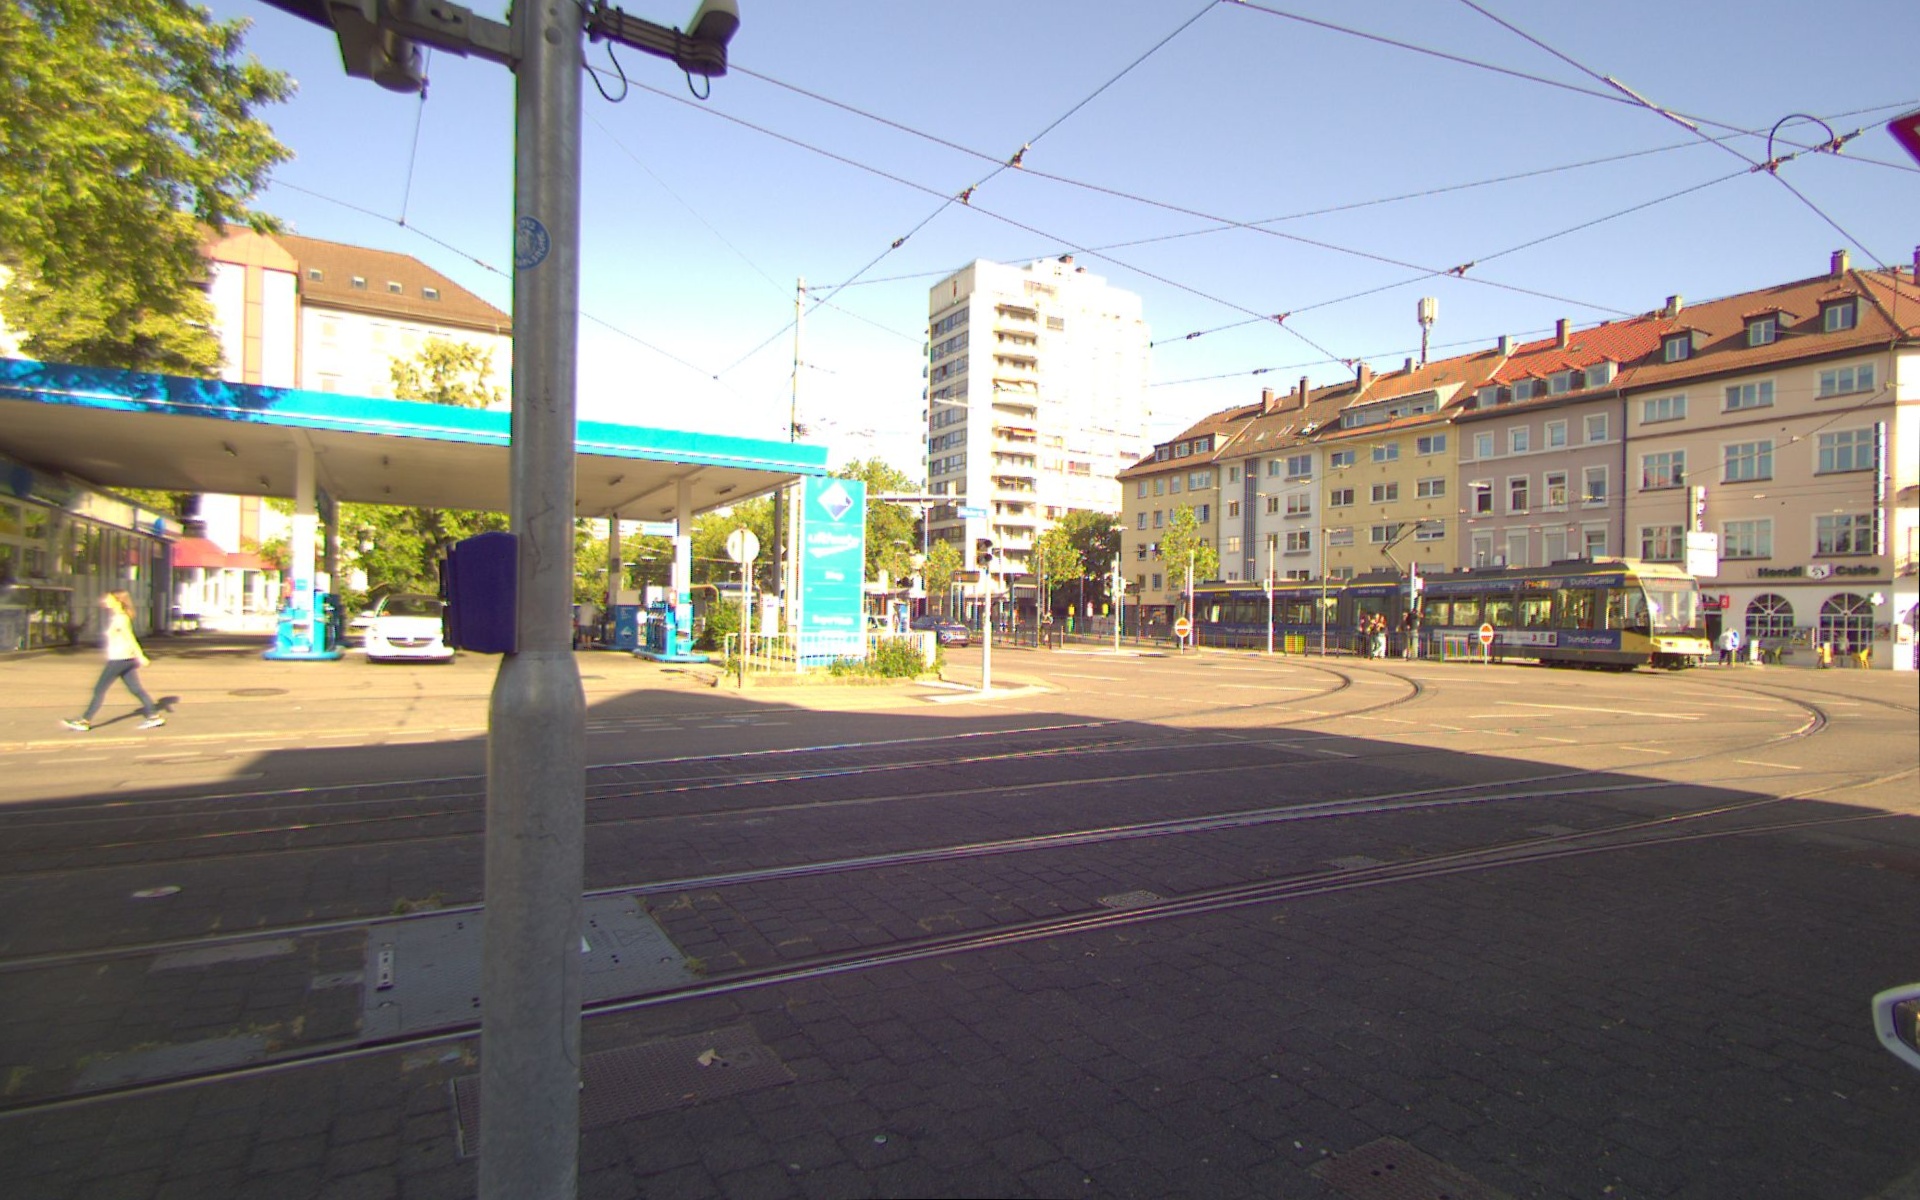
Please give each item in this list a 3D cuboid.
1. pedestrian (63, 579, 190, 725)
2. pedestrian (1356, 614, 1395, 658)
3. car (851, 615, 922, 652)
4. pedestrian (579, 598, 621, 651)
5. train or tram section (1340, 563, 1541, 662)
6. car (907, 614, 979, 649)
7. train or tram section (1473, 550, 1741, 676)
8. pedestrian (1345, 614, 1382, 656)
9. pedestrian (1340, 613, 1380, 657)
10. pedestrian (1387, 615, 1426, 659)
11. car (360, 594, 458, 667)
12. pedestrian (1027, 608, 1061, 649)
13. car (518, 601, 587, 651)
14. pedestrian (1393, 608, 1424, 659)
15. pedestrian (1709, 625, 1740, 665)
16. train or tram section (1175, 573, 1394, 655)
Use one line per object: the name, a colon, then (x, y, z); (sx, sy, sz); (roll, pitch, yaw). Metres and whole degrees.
pedestrian: (-9.899, 0.593, 11.943); (1.099, 1.641, 0.706); (1, -1, -43)
pedestrian: (15.659, 1.343, 37.823); (0.996, 1.619, 0.935); (1, -1, -27)
car: (-3.468, 1.532, 46.741); (1.863, 1.601, 3.971); (1, -1, -28)
pedestrian: (-11.566, 0.785, 32.311); (1.143, 1.647, 0.810); (1, -1, -12)
train or tram section: (19.006, 0.525, 40.541); (2.774, 3.546, 8.443); (1, -1, -12)
car: (-0.844, 1.497, 48.322); (1.863, 1.601, 3.971); (1, -1, -28)
train or tram section: (20.498, 0.432, 32.588); (2.772, 3.546, 7.951); (1, -1, -9)
pedestrian: (15.755, 1.356, 39.257); (0.925, 1.619, 1.007); (1, -1, -13)
pedestrian: (14.835, 1.282, 37.274); (0.994, 1.619, 0.937); (1, -1, -21)
pedestrian: (16.617, 1.372, 37.364); (0.924, 1.619, 1.008); (1, -1, -8)
car: (-12.361, 0.656, 22.523); (1.760, 1.483, 3.968); (1, -1, -30)
pedestrian: (3.905, 1.336, 46.796); (1.156, 1.870, 1.098); (2, -1, -28)
car: (-13.441, 0.841, 33.019); (1.725, 1.431, 4.061); (5, -2, -26)
pedestrian: (16.069, 1.199, 35.971); (0.924, 1.798, 1.008); (0, -1, 28)
pedestrian: (34.586, 2.026, 45.444); (0.996, 1.798, 0.936); (0, -1, 44)
train or tram section: (15.559, 0.691, 49.731); (2.743, 3.546, 11.948); (1, -1, -27)
